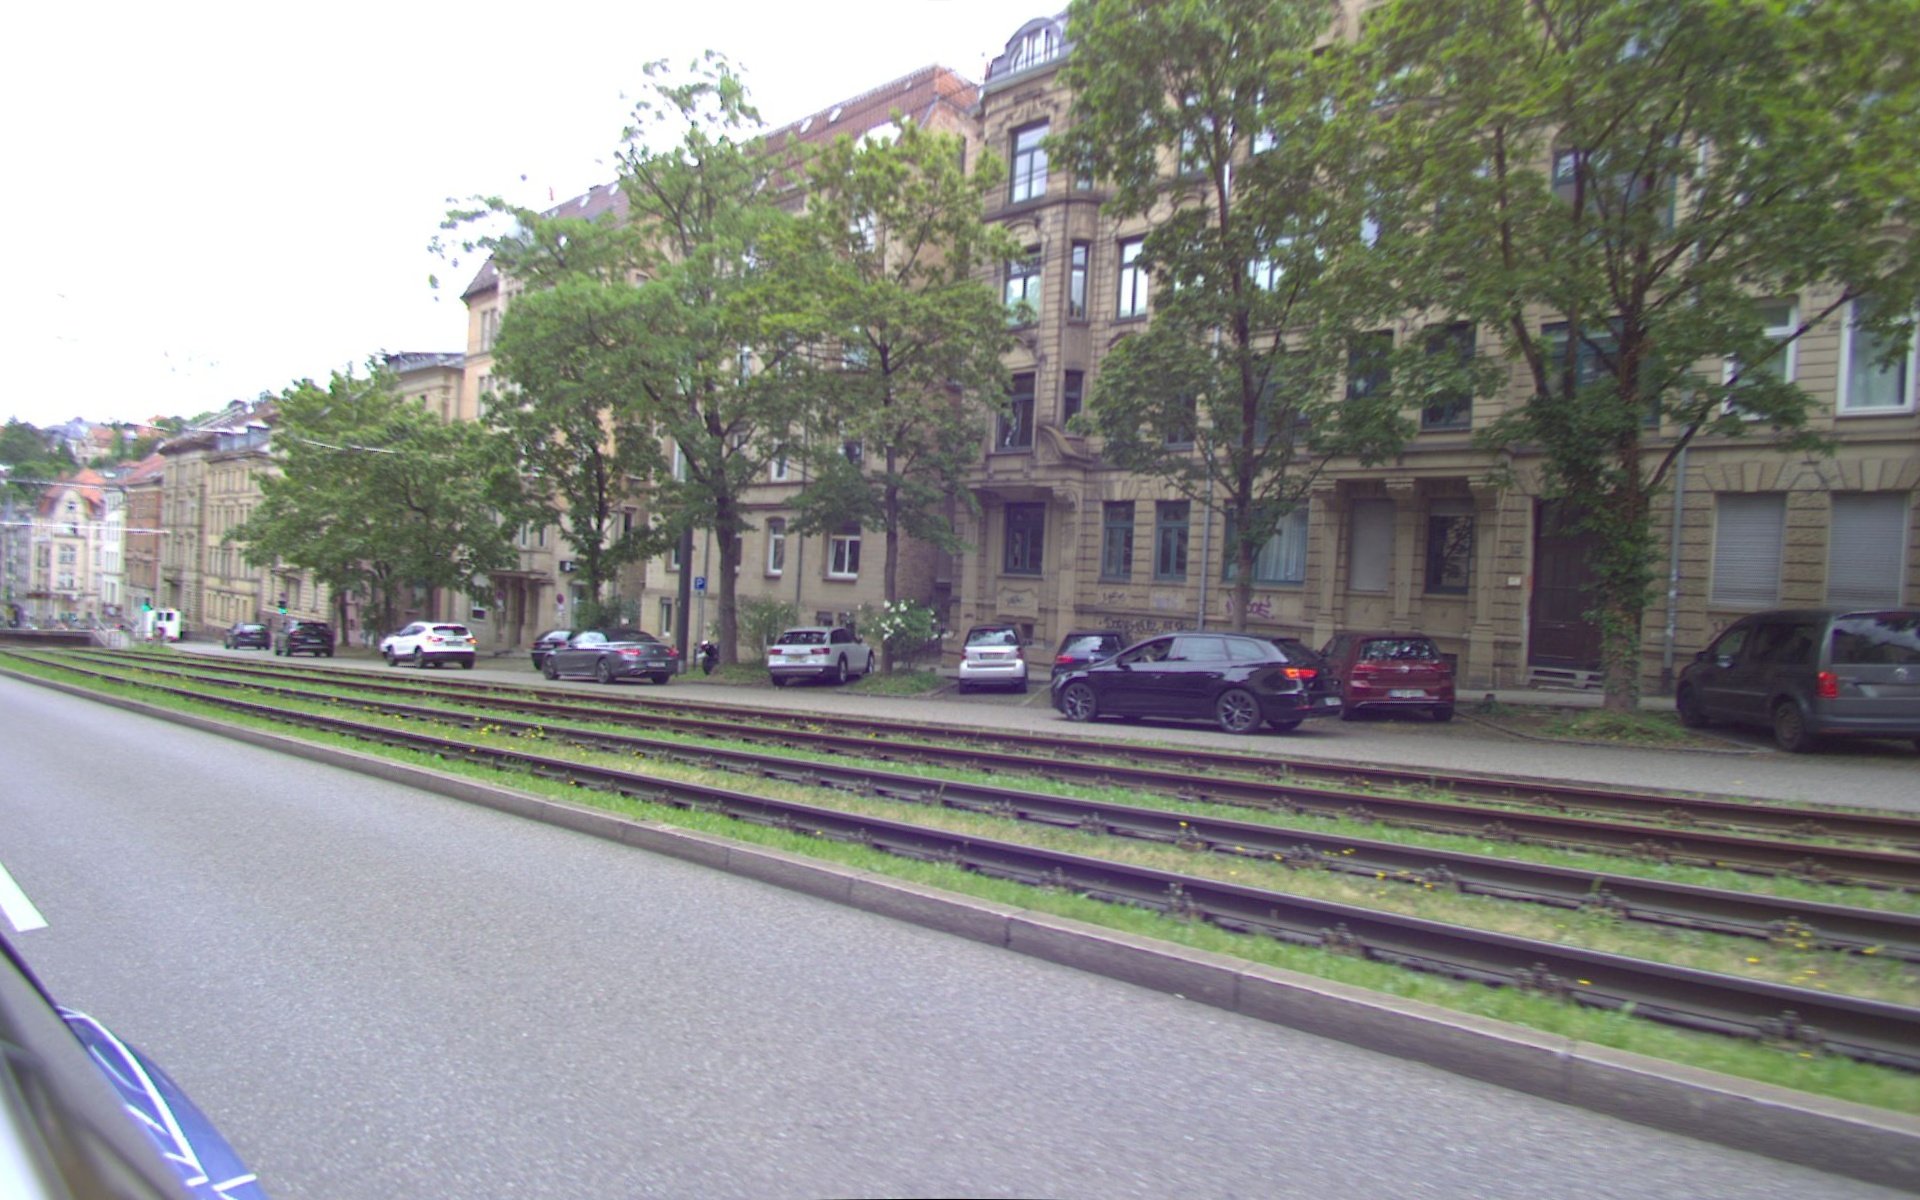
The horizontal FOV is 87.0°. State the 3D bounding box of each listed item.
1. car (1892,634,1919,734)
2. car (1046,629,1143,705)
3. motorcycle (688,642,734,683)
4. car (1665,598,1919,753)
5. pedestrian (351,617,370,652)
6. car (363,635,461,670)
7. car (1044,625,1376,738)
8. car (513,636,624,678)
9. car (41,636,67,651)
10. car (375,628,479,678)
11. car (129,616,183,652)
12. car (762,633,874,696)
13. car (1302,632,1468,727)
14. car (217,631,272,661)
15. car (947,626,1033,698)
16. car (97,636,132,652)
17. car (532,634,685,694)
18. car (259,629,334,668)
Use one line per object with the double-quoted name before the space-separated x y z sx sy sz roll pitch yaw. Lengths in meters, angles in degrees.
"car" 13.576 1.086 11.919 1.852 1.350 4.176 0 -2 11
"car" 2.898 1.344 21.501 1.850 1.446 4.179 0 -2 9
"motorcycle" -7.327 1.826 29.860 0.618 1.066 2.201 0 0 6
"car" 11.563 0.930 13.596 1.852 1.781 4.176 0 -2 11
"pedestrian" -34.409 1.979 58.105 0.796 2.029 0.713 -3 -3 39
"car" -24.219 2.305 44.913 1.766 1.433 3.988 0 -2 9
"car" 3.624 1.141 15.148 4.491 1.446 1.846 -1 -5 41
"car" -13.701 1.964 35.694 1.694 1.375 4.169 0 -2 11
"car" -86.303 4.090 96.395 3.656 1.388 1.559 -2 -3 44
"car" -18.812 1.837 35.664 4.344 1.629 1.761 -1 -4 41
"car" -65.249 2.759 82.058 6.518 2.720 2.366 -2 -4 43
"car" -3.616 1.640 26.541 1.766 1.481 4.143 1 -2 9
"car" 7.284 1.290 17.796 1.852 1.446 4.176 0 -2 11
"car" -42.601 2.733 60.224 1.858 1.663 4.472 4 -4 -45
"car" 0.814 1.435 24.431 1.848 1.585 4.185 0 -2 5
"car" -77.162 4.019 92.330 4.746 1.439 1.730 -2 -4 41
"car" -9.253 1.639 26.441 4.595 1.421 1.706 -1 -4 41
"car" -30.574 2.217 46.611 4.241 1.669 1.761 -1 -4 41
